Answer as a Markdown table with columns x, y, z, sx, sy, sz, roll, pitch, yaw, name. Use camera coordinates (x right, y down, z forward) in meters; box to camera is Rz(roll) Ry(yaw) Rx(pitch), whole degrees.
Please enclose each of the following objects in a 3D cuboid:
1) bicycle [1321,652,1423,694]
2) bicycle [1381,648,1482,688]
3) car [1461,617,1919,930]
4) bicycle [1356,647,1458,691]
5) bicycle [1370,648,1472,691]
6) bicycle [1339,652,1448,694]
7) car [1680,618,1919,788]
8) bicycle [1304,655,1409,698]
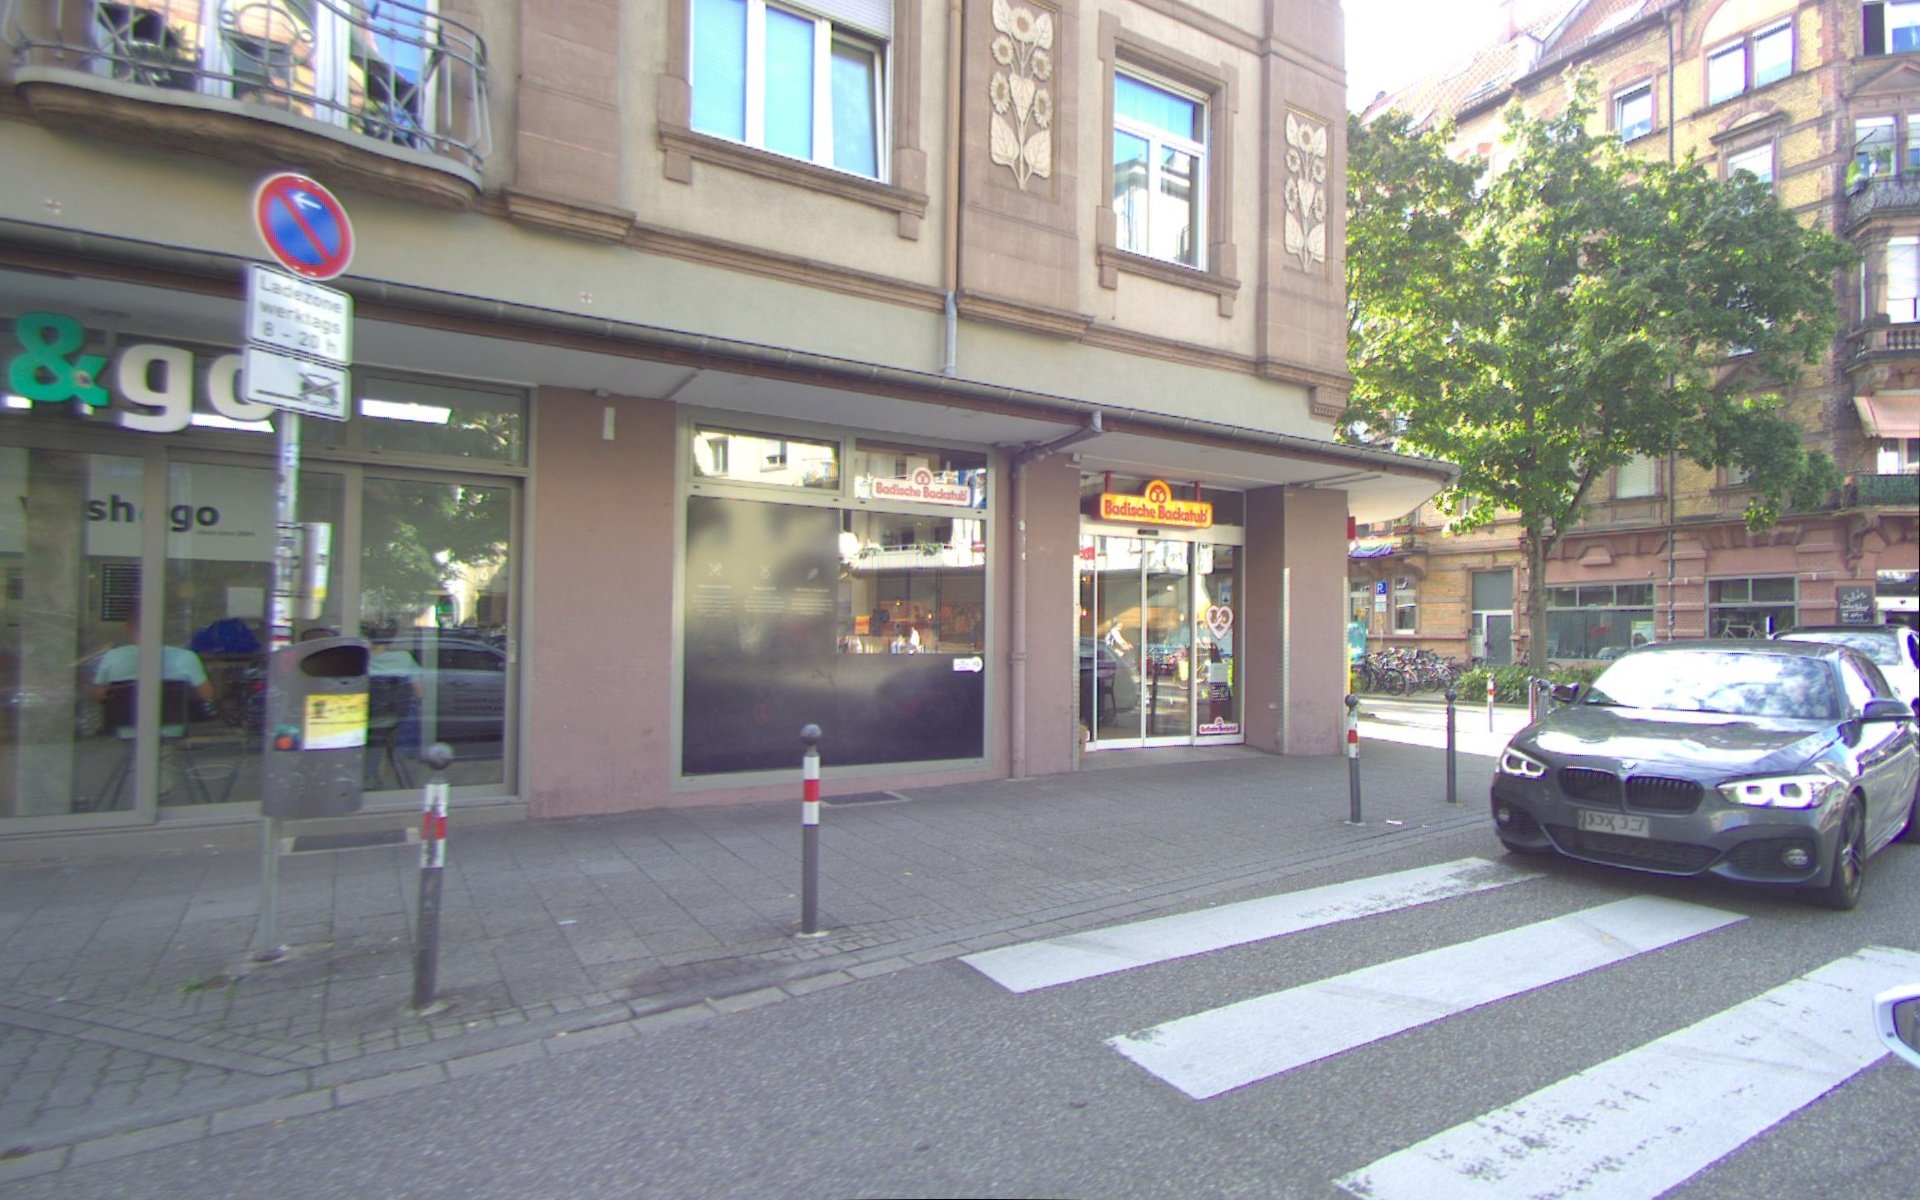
| x | y | z | sx | sy | sz | roll | pitch | yaw | name |
| --- | --- | --- | --- | --- | --- | --- | --- | --- | --- |
| 11.823 | 2.079 | 28.969 | 0.626 | 1.138 | 2.879 | 2 | -3 | -34 | bicycle |
| 14.314 | 2.034 | 30.622 | 0.626 | 1.138 | 2.879 | 2 | -3 | -34 | bicycle |
| 5.168 | 0.915 | 6.784 | 4.179 | 1.455 | 1.735 | 3 | -2 | -41 | car |
| 13.204 | 2.015 | 29.769 | 0.626 | 1.206 | 2.879 | 2 | -3 | -34 | bicycle |
| 13.803 | 2.062 | 30.183 | 0.626 | 1.213 | 2.879 | 2 | -3 | -34 | bicycle |
| 12.574 | 2.098 | 29.304 | 0.626 | 1.138 | 3.077 | 2 | -3 | -34 | bicycle |
| 11.098 | 1.133 | 12.613 | 4.803 | 1.744 | 1.929 | 0 | -3 | -37 | car |
| 11.242 | 2.144 | 28.622 | 0.719 | 1.138 | 2.879 | 2 | -3 | -34 | bicycle |
